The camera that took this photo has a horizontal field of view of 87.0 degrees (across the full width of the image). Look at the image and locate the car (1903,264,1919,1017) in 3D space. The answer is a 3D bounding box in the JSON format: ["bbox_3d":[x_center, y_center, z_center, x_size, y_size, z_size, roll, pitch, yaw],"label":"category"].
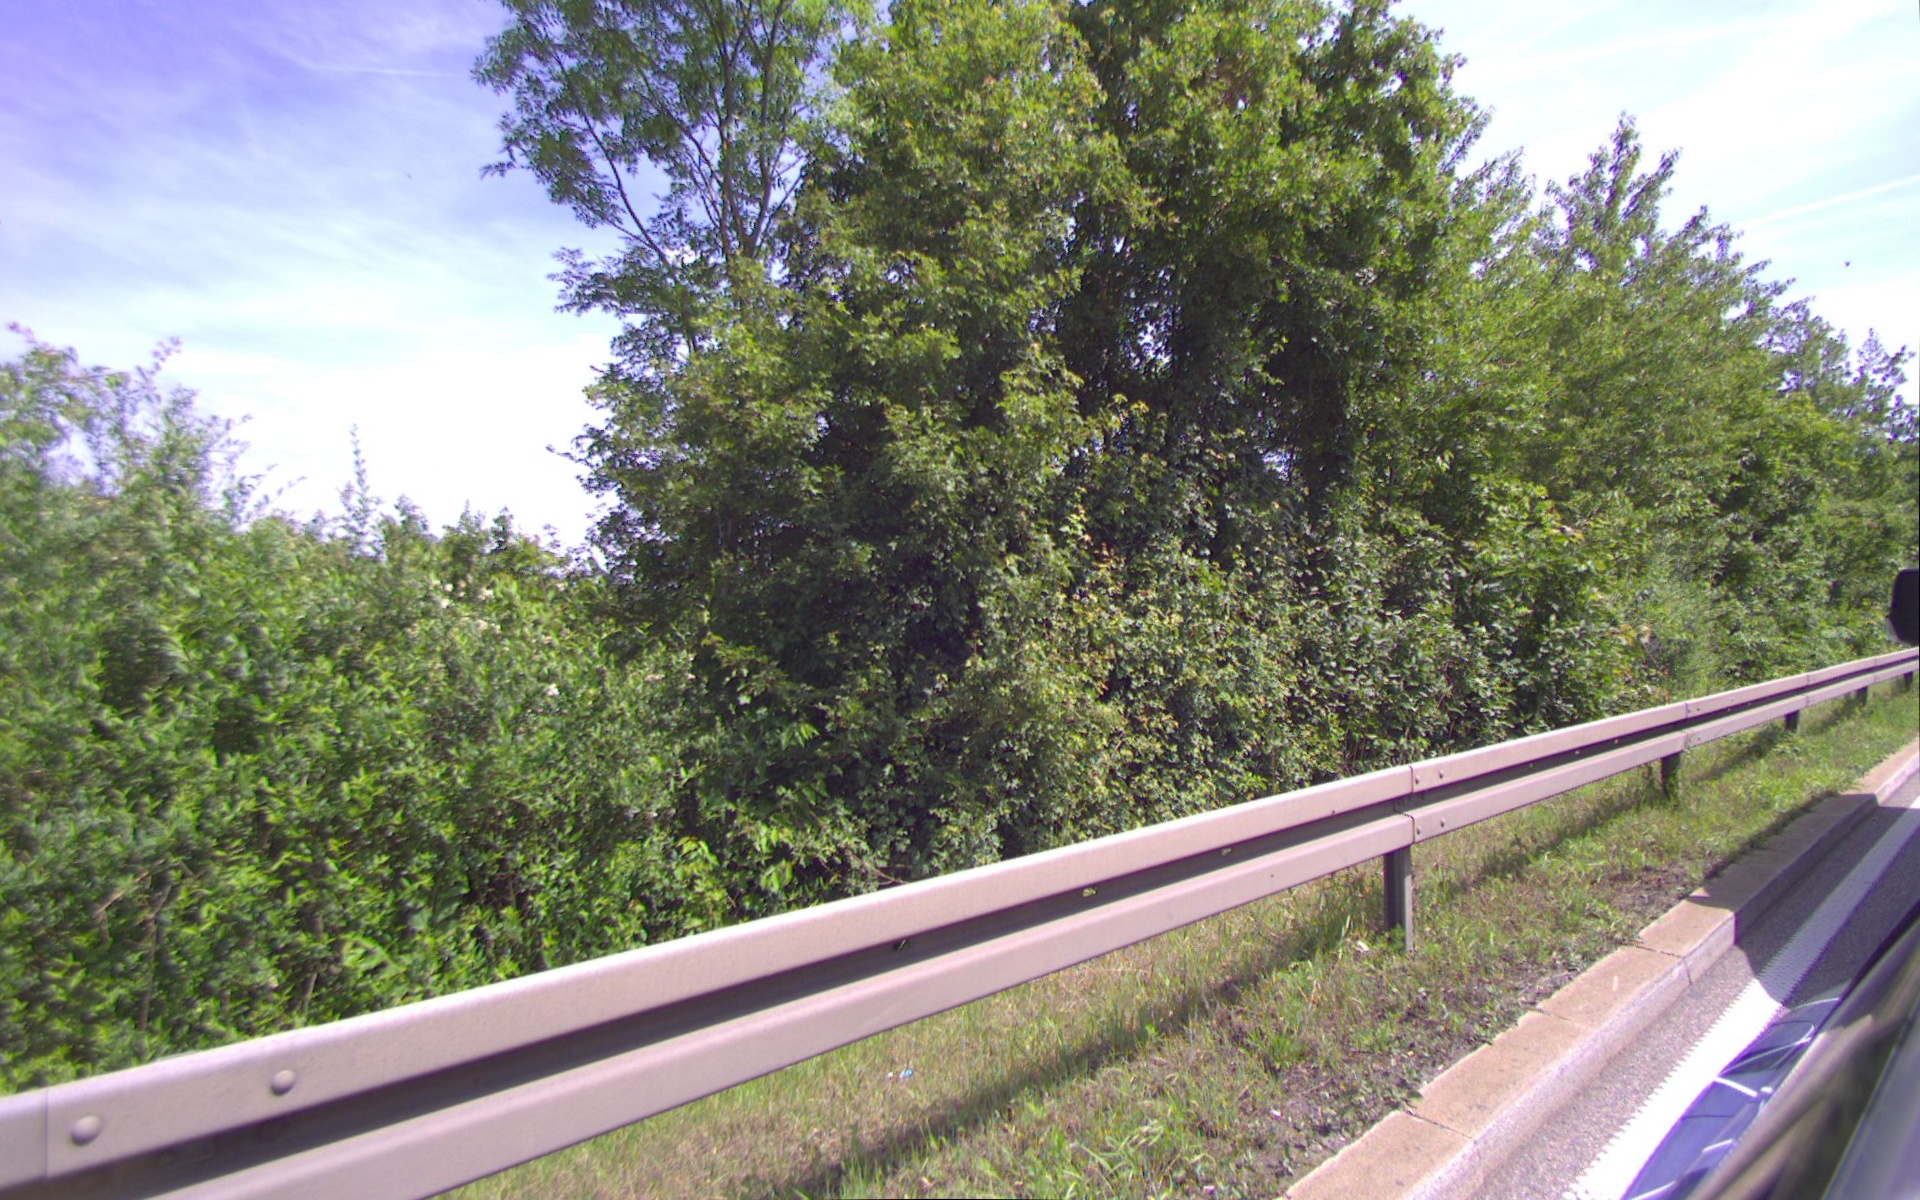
[{"bbox_3d":[5.824,0.149,4.358,5.172,2.549,1.957,0,0,-40],"label":"car"}]
